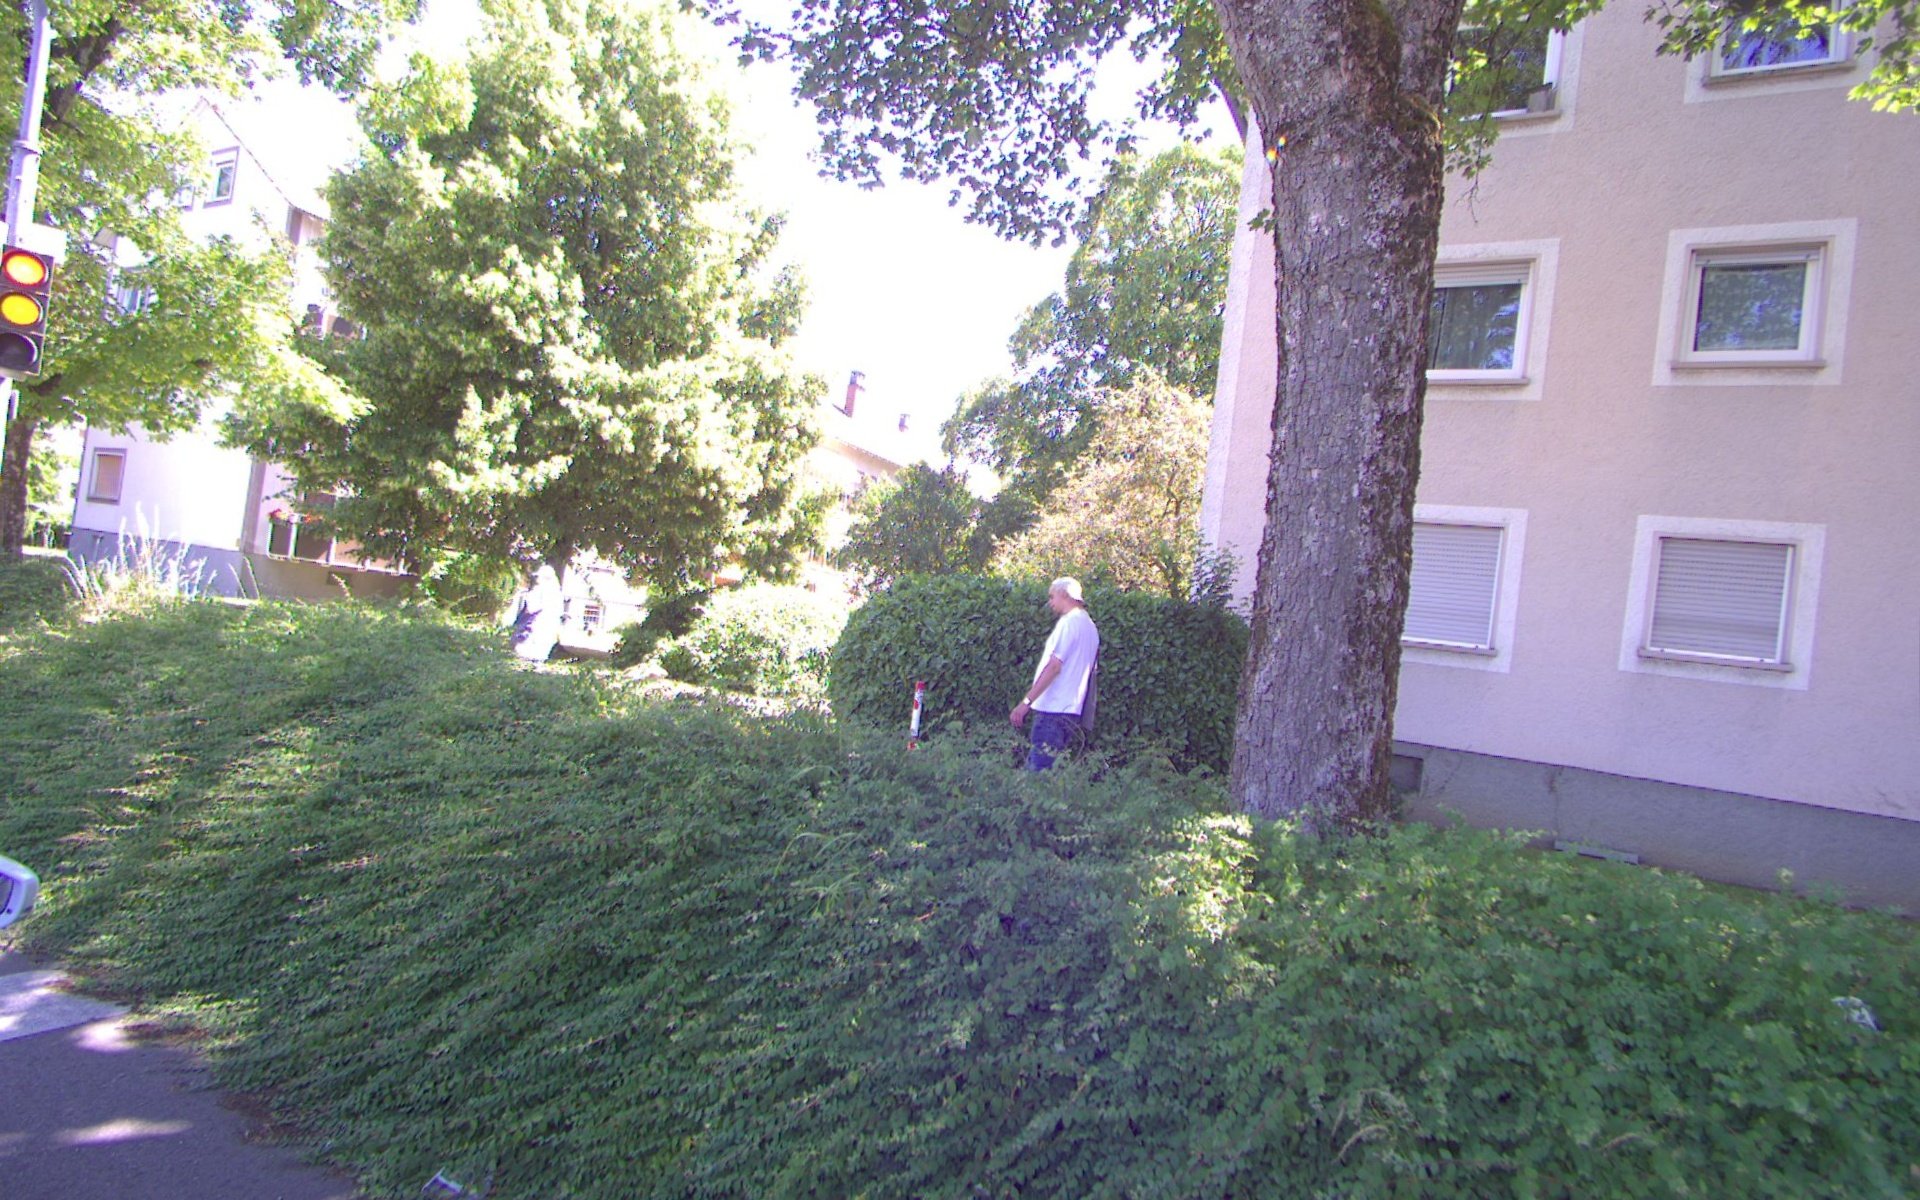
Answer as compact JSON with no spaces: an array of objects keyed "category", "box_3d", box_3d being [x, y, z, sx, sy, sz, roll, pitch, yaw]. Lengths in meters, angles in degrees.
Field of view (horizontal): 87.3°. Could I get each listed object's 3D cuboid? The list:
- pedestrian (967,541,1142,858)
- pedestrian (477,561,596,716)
[{"category":"pedestrian","box_3d":[0.653,0.638,6.698,0.886,1.894,0.675,7,-2,11]},{"category":"pedestrian","box_3d":[-4.879,0.446,11.617,0.836,1.653,0.720,7,0,23]}]
